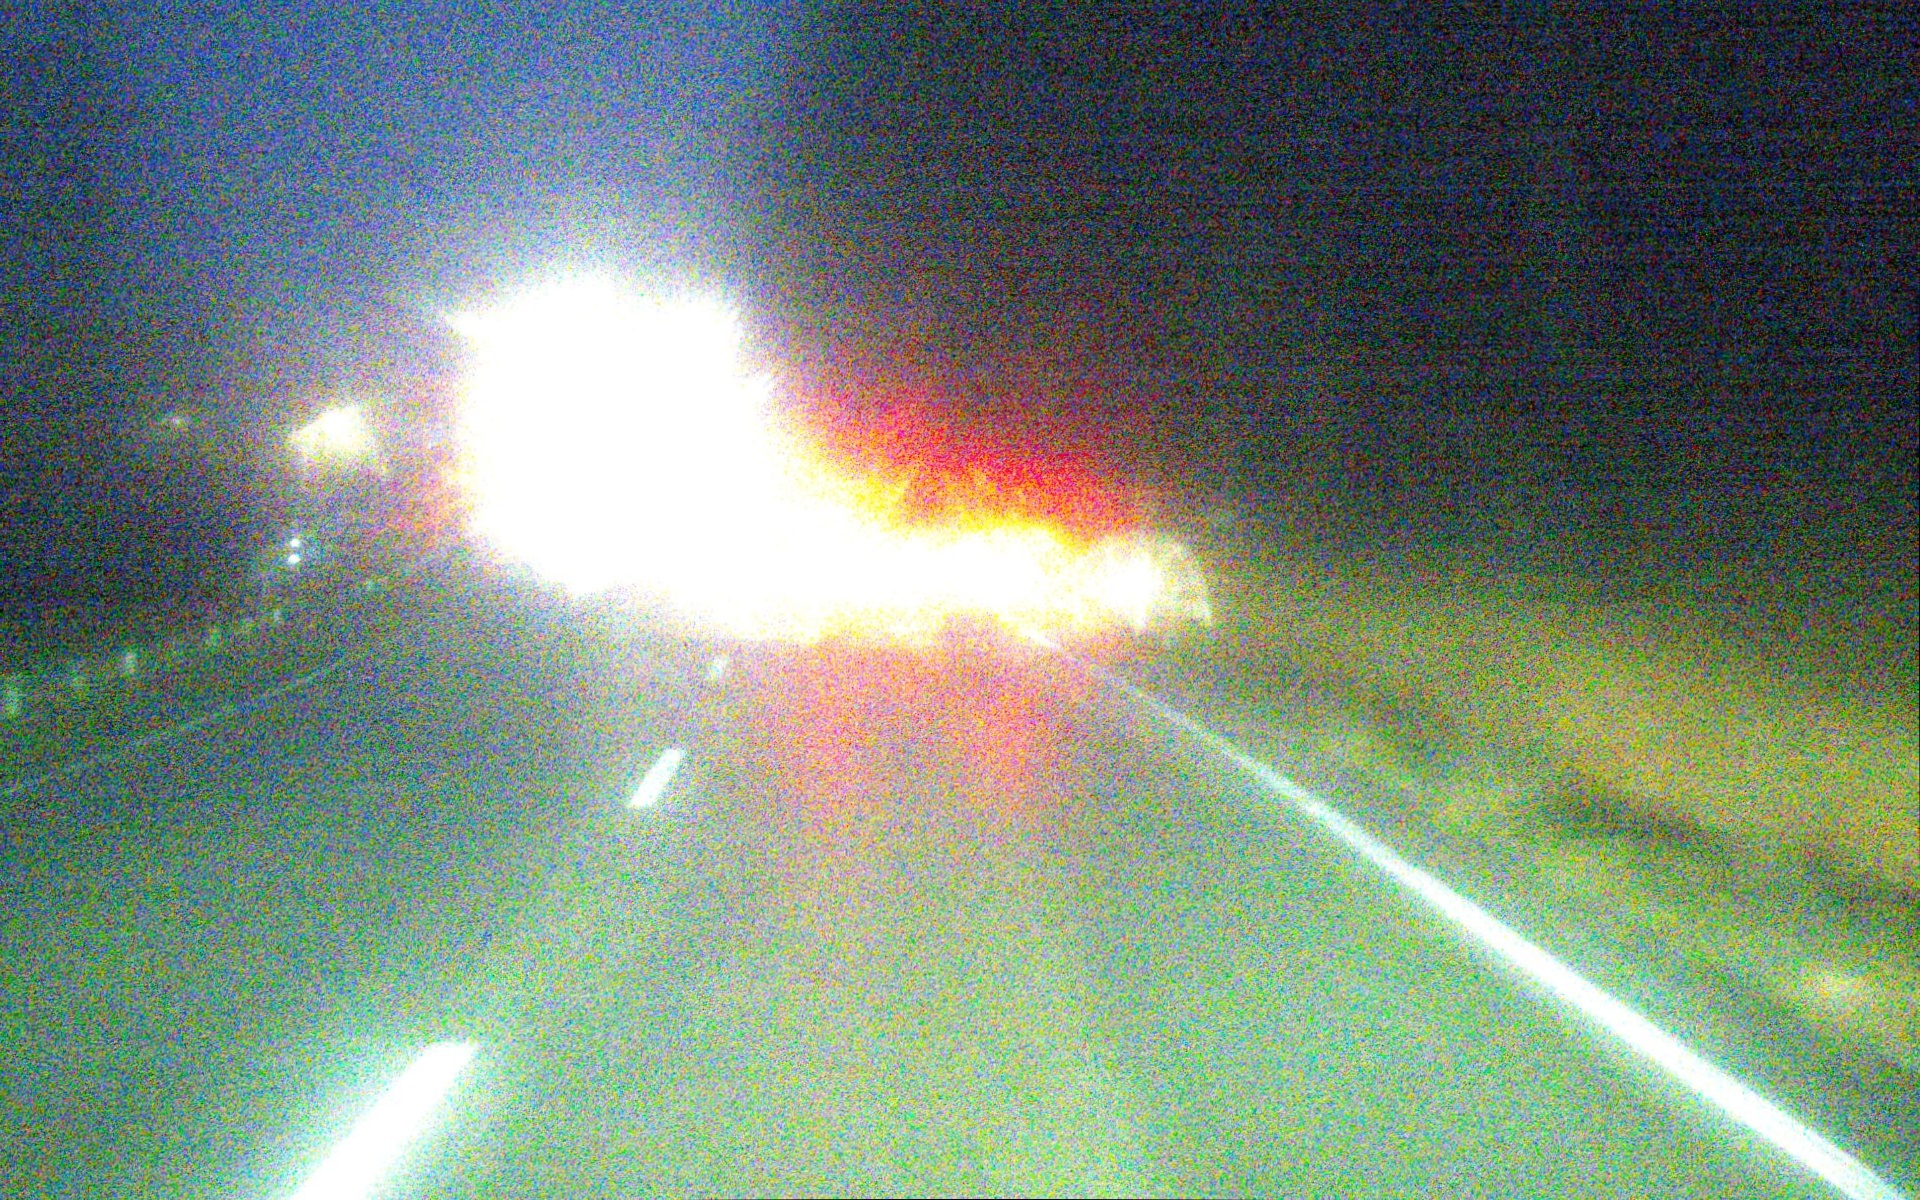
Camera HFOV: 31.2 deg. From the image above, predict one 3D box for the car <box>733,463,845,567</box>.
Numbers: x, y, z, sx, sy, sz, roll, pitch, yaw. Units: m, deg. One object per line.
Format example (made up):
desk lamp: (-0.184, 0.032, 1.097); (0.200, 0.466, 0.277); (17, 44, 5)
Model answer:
car: (-3.595, -1.781, 71.612); (1.993, 2.006, 4.001); (2, 2, -7)

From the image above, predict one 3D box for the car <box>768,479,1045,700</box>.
car: (-0.555, -0.146, 33.284); (2.457, 1.952, 4.912); (1, 1, -2)
